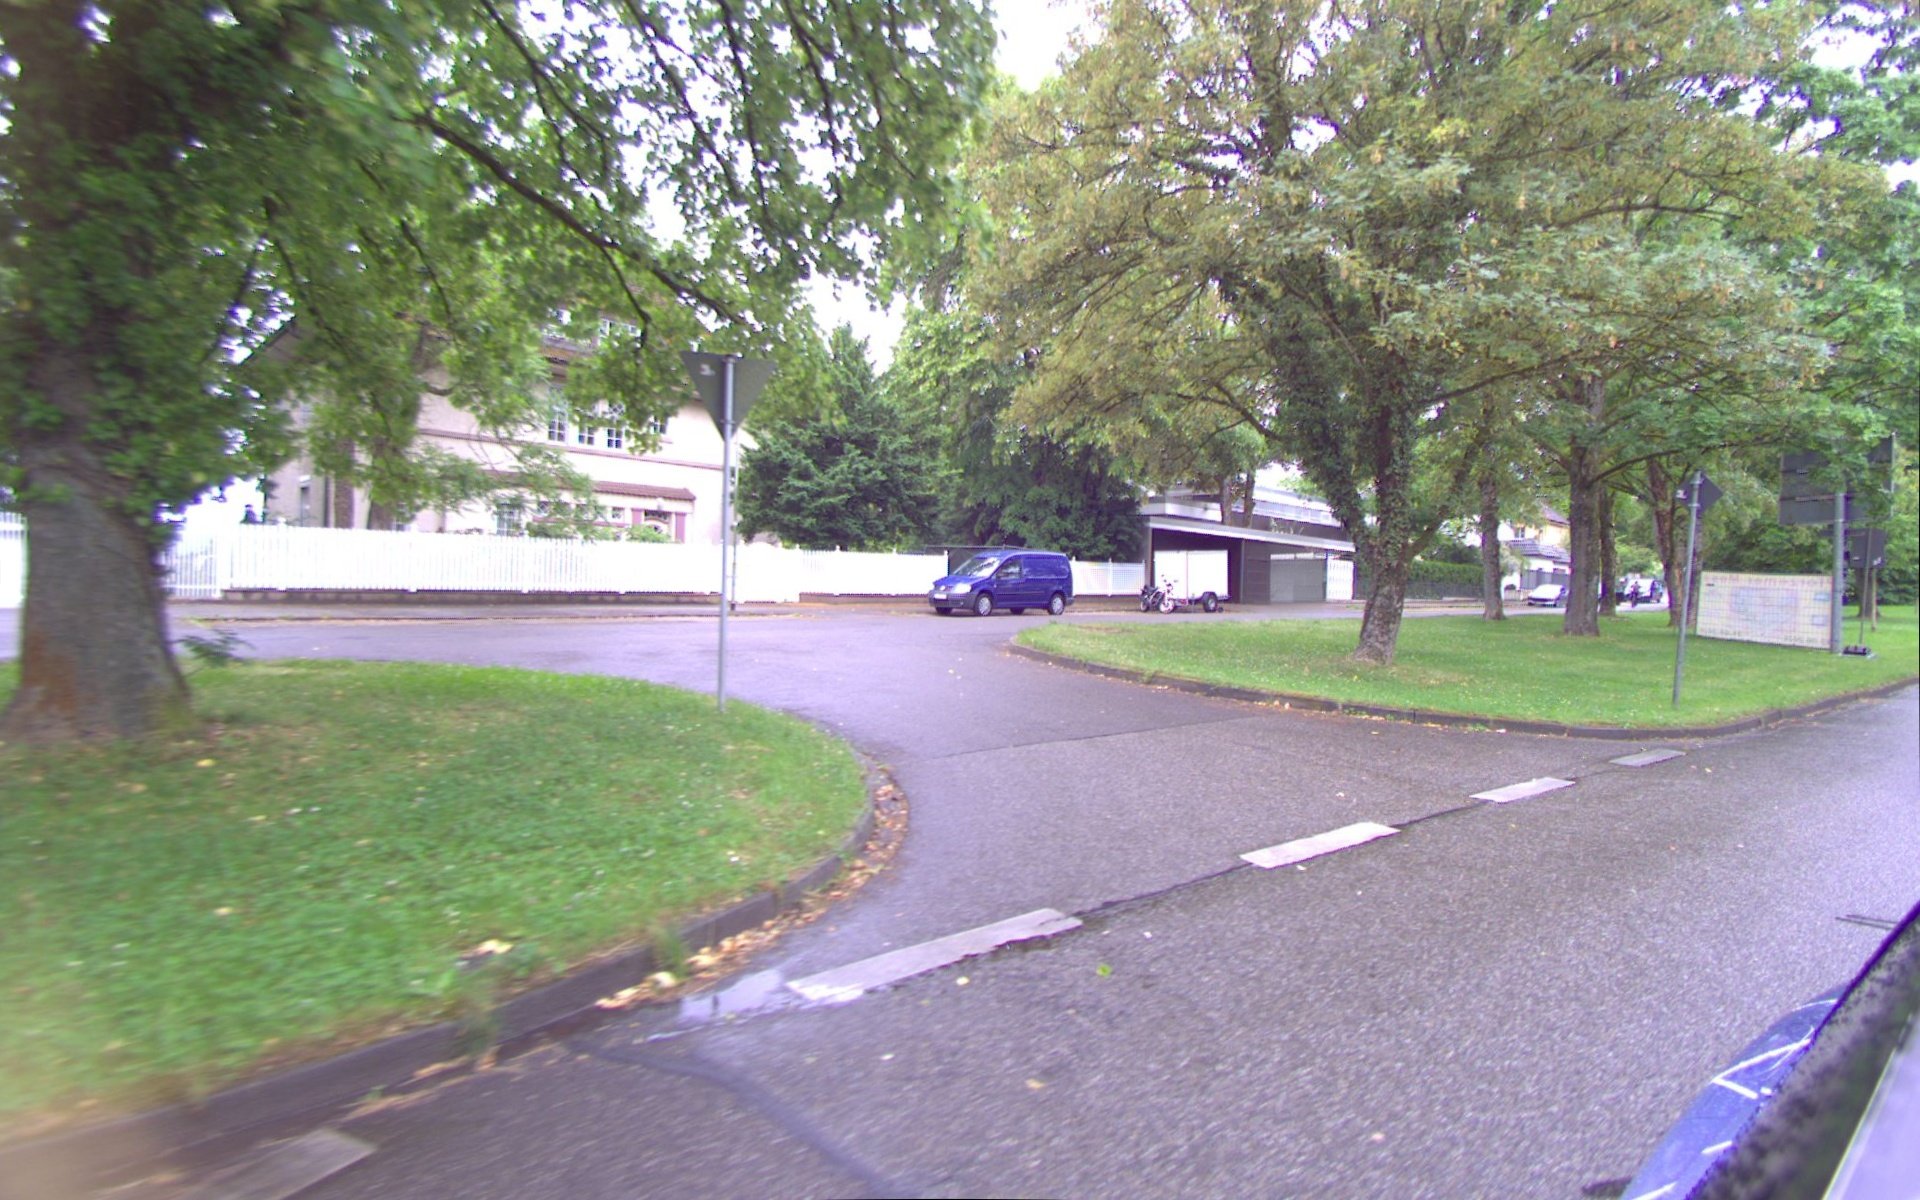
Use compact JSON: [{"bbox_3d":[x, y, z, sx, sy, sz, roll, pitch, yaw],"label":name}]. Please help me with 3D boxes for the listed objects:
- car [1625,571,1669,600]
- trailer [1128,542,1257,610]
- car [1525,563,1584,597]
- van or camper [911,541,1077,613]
[{"bbox_3d":[54.371,-1.162,80.084,3.932,2.039,1.996,3,0,-43],"label":"car"},{"bbox_3d":[8.017,-0.784,34.627,5.106,2.143,1.768,-1,0,-43],"label":"trailer"},{"bbox_3d":[37.392,-1.230,63.655,3.930,2.038,1.997,0,2,-41],"label":"car"},{"bbox_3d":[1.027,-0.612,28.212,1.994,1.831,4.699,0,0,44],"label":"van or camper"}]
